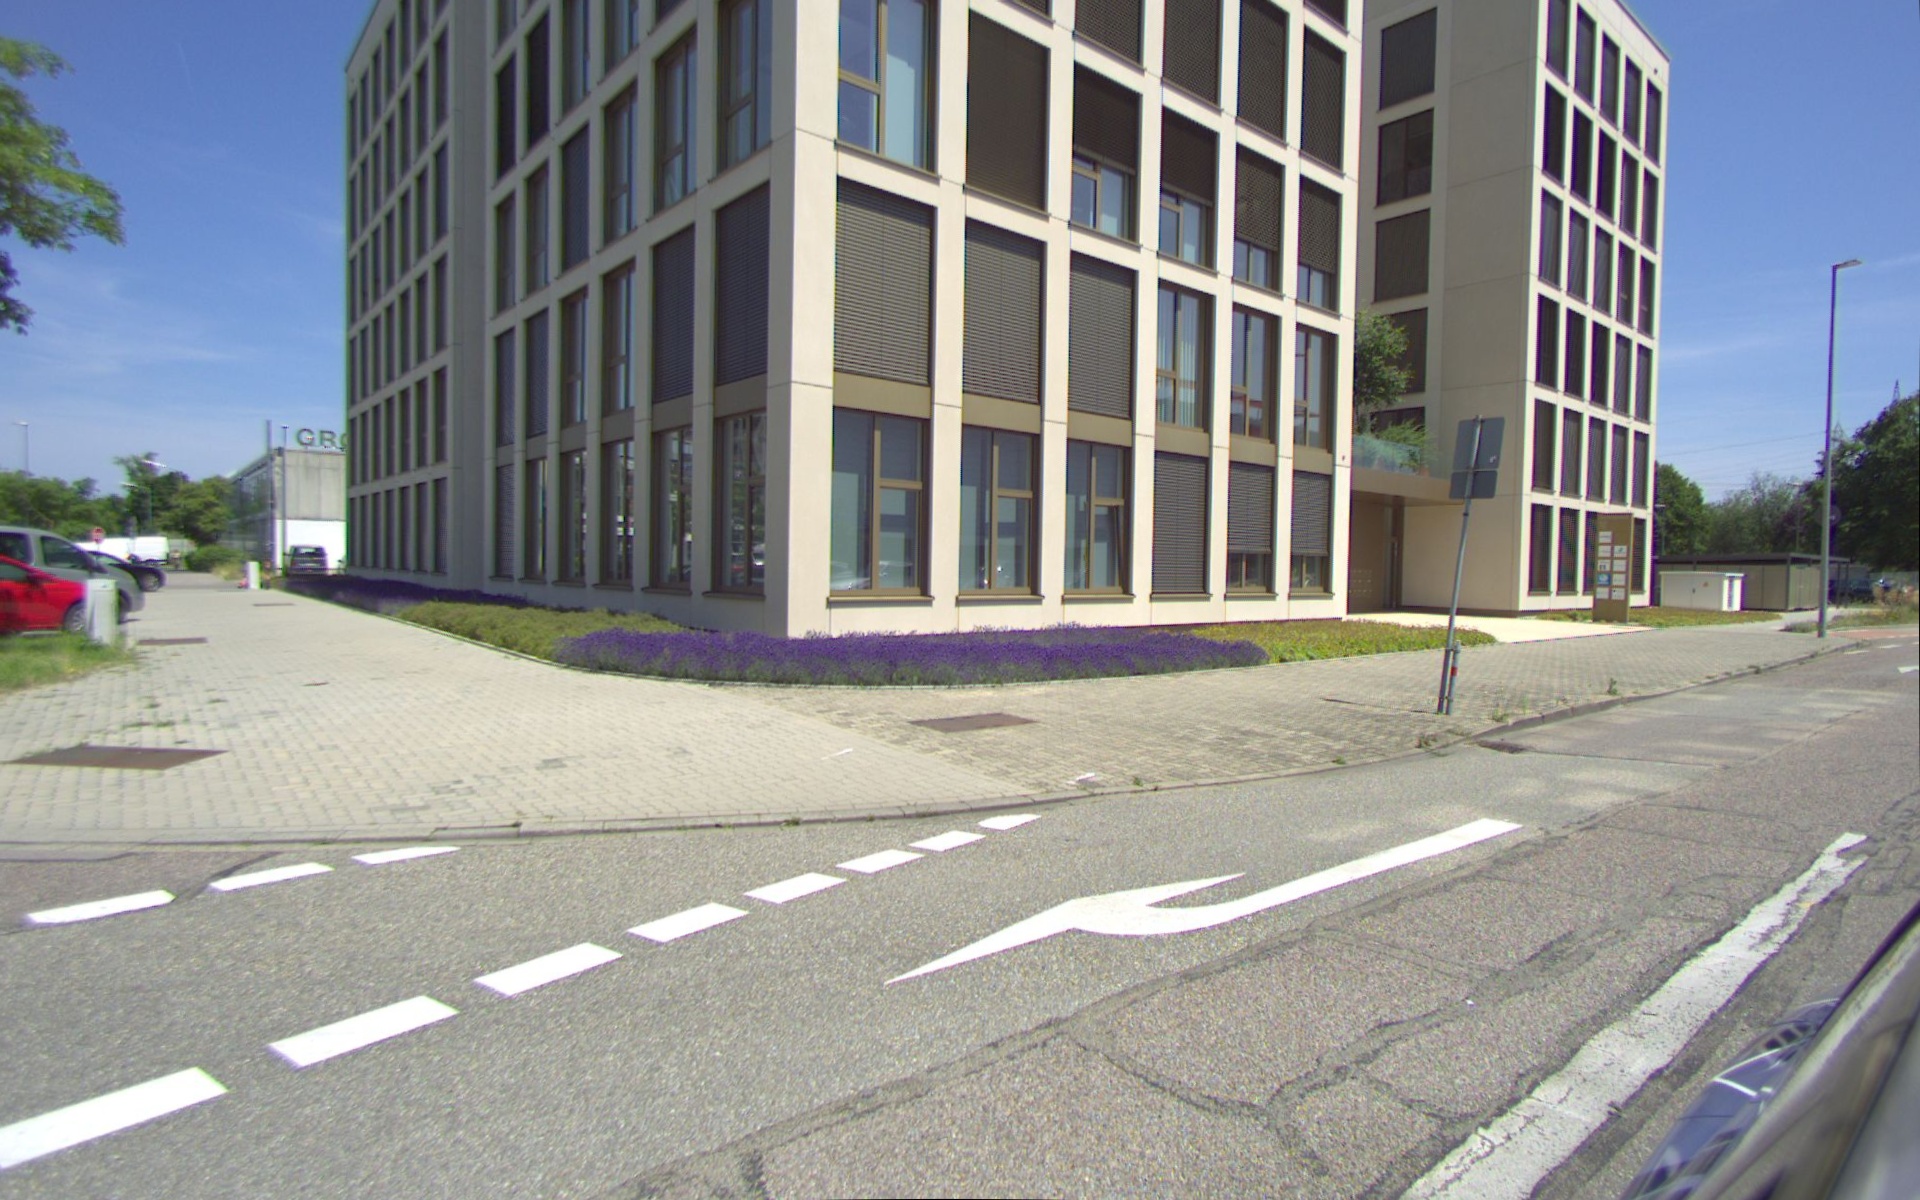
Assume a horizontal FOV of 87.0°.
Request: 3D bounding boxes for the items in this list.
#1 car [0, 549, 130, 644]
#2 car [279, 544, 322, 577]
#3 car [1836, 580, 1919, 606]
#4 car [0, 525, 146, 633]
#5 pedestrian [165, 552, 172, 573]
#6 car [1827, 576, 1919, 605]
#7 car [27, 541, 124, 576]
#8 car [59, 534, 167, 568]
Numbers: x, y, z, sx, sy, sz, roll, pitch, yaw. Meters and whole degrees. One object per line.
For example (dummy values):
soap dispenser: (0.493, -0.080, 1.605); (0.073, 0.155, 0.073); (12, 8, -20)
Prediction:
car: (-15.443, -0.061, 15.582); (1.672, 1.449, 3.990); (1, 3, 10)
car: (-38.096, -2.234, 58.443); (1.763, 1.749, 3.997); (0, 0, -38)
car: (55.260, -0.449, 60.783); (3.810, 1.411, 1.716); (2, 2, 36)
car: (-17.902, -0.402, 18.454); (1.886, 1.910, 4.927); (1, 1, 5)
pedestrian: (-60.512, -2.860, 77.356); (0.397, 1.579, 0.549); (0, 2, -39)
car: (53.651, -0.573, 59.572); (3.810, 1.571, 1.716); (2, 2, 36)
car: (-55.151, -2.553, 63.228); (4.495, 2.039, 1.997); (-1, 0, -40)
car: (-67.918, -3.872, 81.359); (6.573, 2.552, 2.217); (-1, 0, -38)
